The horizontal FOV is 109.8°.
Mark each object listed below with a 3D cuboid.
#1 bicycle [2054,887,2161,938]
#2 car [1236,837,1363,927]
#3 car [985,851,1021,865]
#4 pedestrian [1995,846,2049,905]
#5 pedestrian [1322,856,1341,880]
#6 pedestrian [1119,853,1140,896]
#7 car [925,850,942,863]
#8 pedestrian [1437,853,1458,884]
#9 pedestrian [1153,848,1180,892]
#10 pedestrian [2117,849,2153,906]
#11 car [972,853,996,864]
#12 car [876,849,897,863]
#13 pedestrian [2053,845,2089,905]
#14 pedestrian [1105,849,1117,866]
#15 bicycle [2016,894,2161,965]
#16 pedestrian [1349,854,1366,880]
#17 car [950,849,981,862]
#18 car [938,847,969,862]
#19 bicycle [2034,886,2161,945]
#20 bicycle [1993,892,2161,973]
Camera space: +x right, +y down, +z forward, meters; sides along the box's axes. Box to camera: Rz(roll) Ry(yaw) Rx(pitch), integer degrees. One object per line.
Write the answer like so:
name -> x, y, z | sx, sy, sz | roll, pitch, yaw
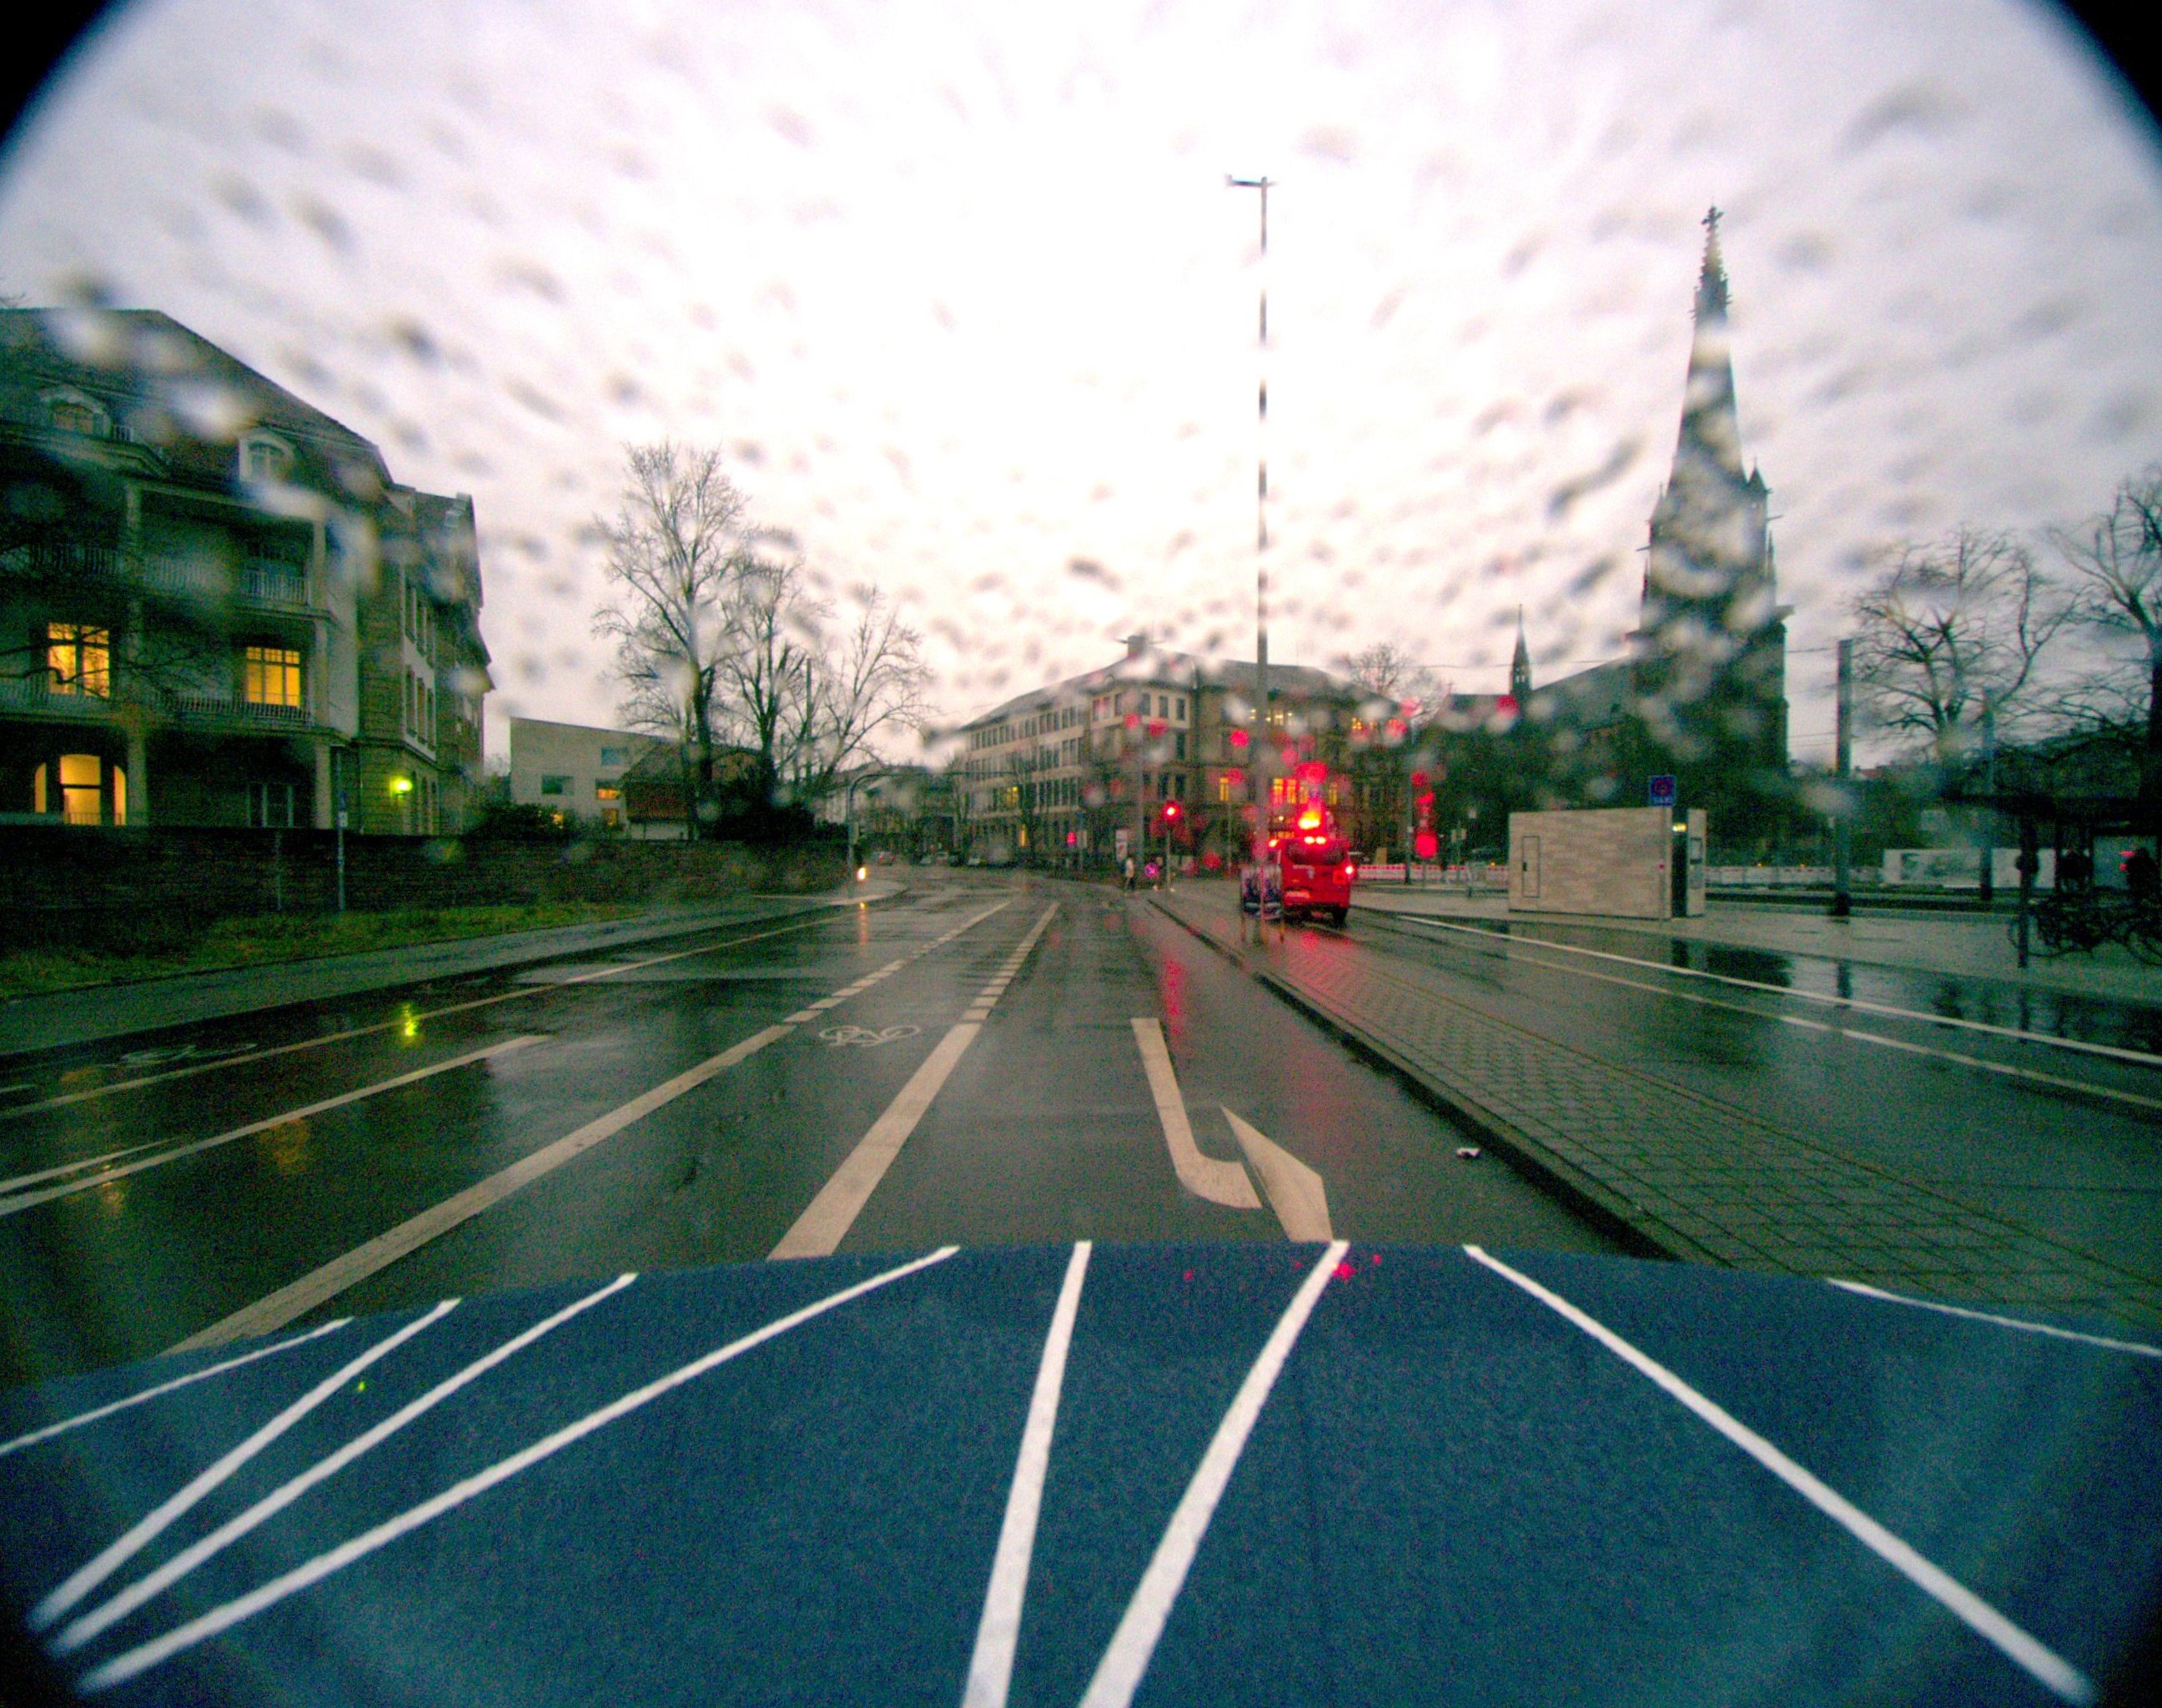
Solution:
bicycle -> 20.850, 1.158, 15.019 | 0.475, 0.905, 1.921 | -2, 2, -30
car -> 5.535, 0.653, 19.918 | 1.929, 2.058, 4.643 | 1, 0, 0
car -> -9.280, 0.477, 90.537 | 1.797, 1.541, 4.007 | -1, 1, 45
pedestrian -> 29.318, 0.669, 23.685 | 0.669, 1.785, 0.828 | -2, 1, 12
pedestrian -> 17.870, 0.974, 54.161 | 0.773, 1.651, 1.207 | -2, 1, -9
pedestrian -> 1.958, 0.806, 30.835 | 0.798, 1.713, 0.674 | 1, 1, 0
car -> -20.737, 0.367, 106.846 | 2.000, 1.660, 3.997 | -2, 1, -7
pedestrian -> 23.071, 0.893, 47.870 | 0.675, 1.890, 0.971 | 0, 1, -37
pedestrian -> 3.786, 0.706, 33.767 | 1.000, 1.890, 0.673 | 1, 1, -9
pedestrian -> 31.050, 0.688, 22.389 | 0.541, 1.642, 0.562 | -3, 2, -41
car -> -12.135, 0.570, 95.308 | 1.706, 1.298, 3.647 | -2, 1, 16
car -> -27.115, 0.246, 105.904 | 1.886, 1.835, 3.991 | -3, 1, -28
pedestrian -> 30.238, 0.639, 23.218 | 0.673, 1.785, 0.626 | -3, 2, -41
pedestrian -> 3.120, 0.372, 78.388 | 0.829, 1.714, 0.926 | 0, 0, -37
bicycle -> 16.620, 1.211, 12.218 | 0.475, 0.980, 1.921 | -2, 2, -30
pedestrian -> 19.780, 0.898, 54.282 | 0.675, 1.806, 0.895 | 0, 1, -40
car -> -15.092, 0.195, 99.407 | 1.797, 1.541, 4.007 | -2, 1, 28
car -> -16.997, 0.071, 101.472 | 2.043, 1.889, 4.007 | -2, 1, 28
bicycle -> 19.695, 1.166, 14.430 | 0.475, 0.980, 1.921 | -2, 2, -30
bicycle -> 15.501, 1.178, 11.613 | 0.475, 1.064, 1.921 | -2, 2, -30
